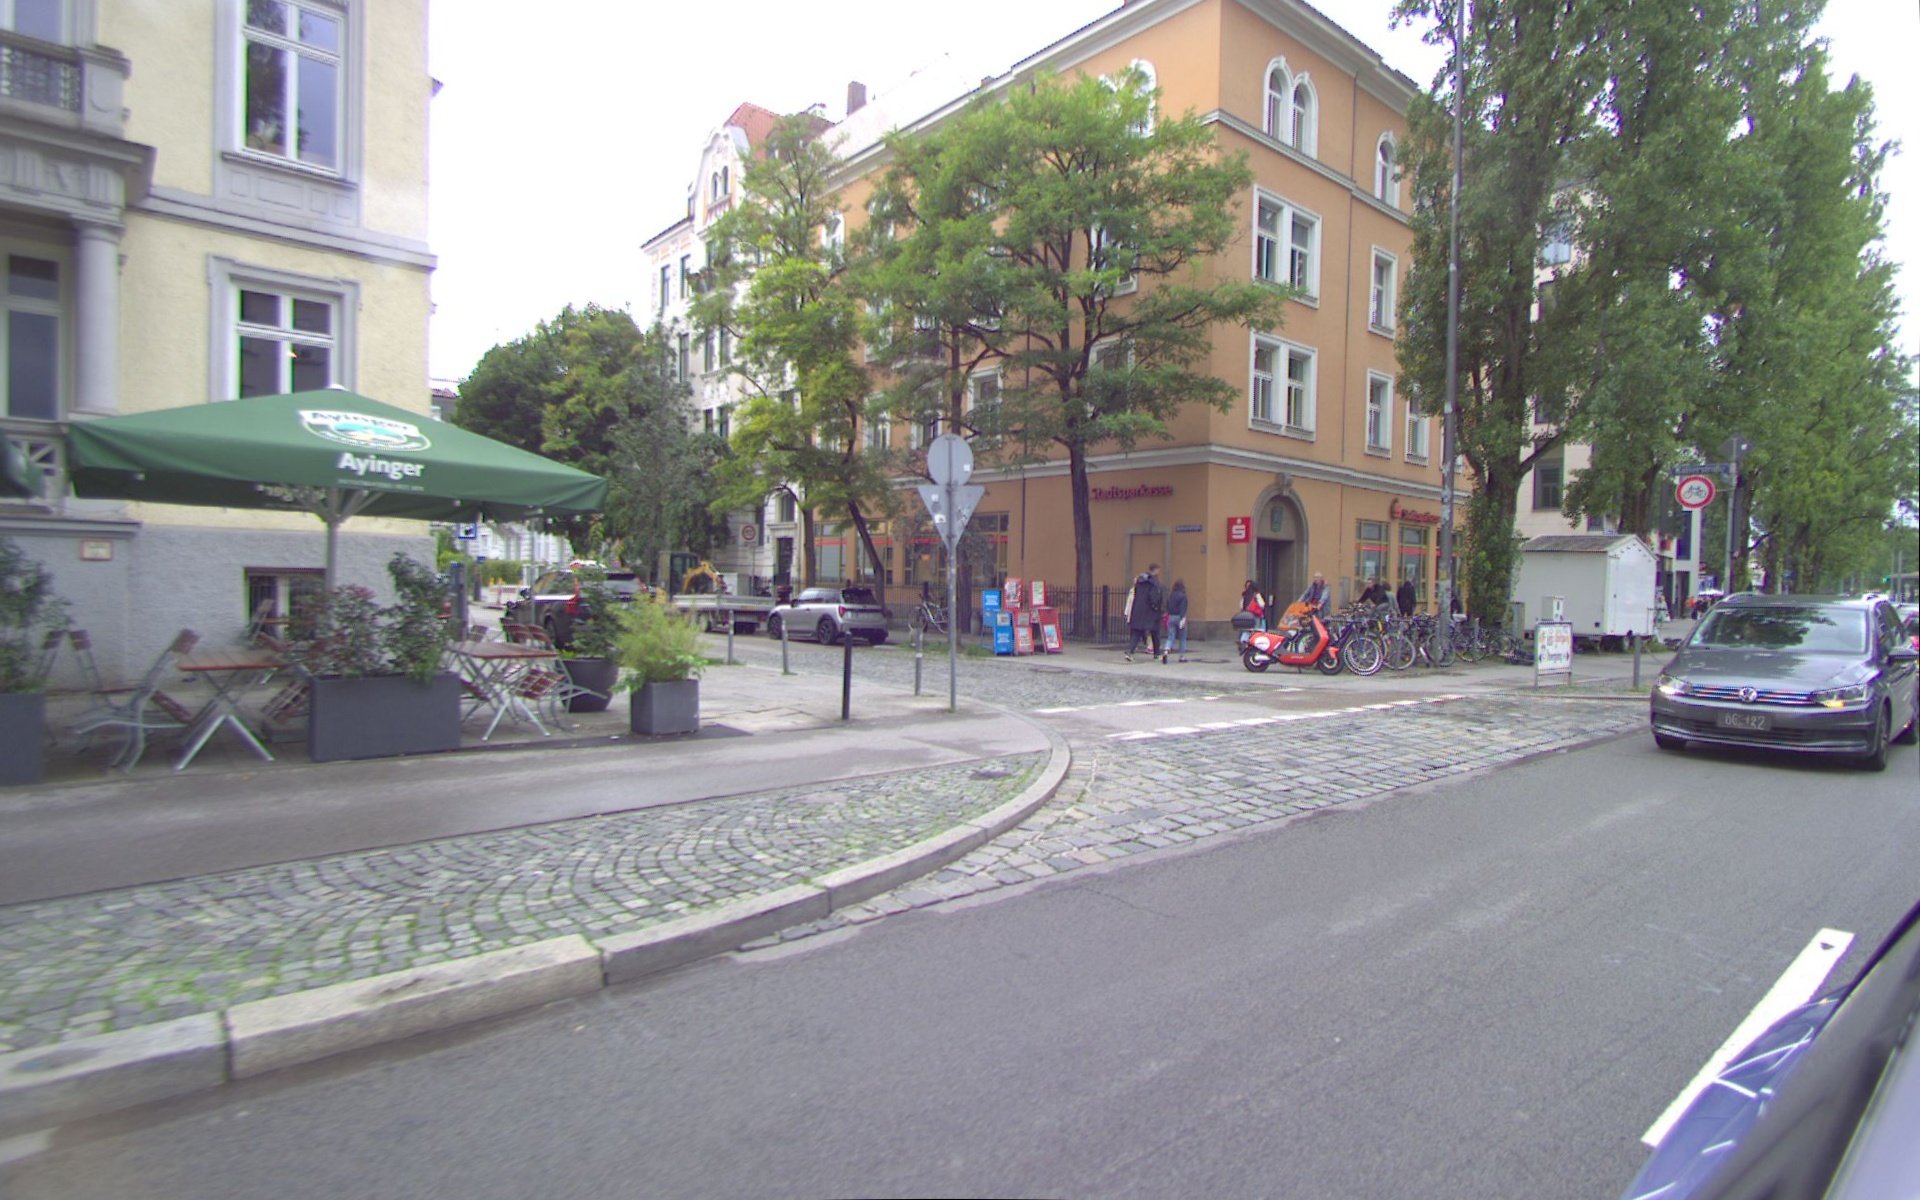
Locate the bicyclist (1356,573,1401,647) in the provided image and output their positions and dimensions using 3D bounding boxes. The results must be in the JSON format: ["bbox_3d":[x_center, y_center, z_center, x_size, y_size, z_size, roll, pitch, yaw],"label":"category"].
[{"bbox_3d":[9.807,0.225,23.719,0.738,1.708,0.737,2,1,42],"label":"bicyclist"}]

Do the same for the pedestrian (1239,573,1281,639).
[{"bbox_3d":[7.387,0.146,24.951,0.651,1.591,0.746,0,0,-38],"label":"pedestrian"}]

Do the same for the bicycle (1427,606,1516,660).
[{"bbox_3d":[10.592,0.663,20.985,1.597,1.022,0.337,2,1,43],"label":"bicycle"}]

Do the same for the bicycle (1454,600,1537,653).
[{"bbox_3d":[11.826,0.563,22.393,1.593,1.098,0.319,2,1,28],"label":"bicycle"}]

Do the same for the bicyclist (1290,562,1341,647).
[{"bbox_3d":[7.637,0.085,21.737,0.828,1.779,0.657,2,1,41],"label":"bicyclist"}]

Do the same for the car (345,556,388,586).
[{"bbox_3d":[-42.316,-2.062,72.076,1.965,2.039,3.993,0,0,-41],"label":"car"}]

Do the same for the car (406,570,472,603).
[{"bbox_3d":[-24.037,-0.634,46.633,1.673,1.487,3.991,0,1,-43],"label":"car"}]

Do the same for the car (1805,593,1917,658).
[{"bbox_3d":[24.528,0.645,27.503,4.421,1.634,1.787,0,0,-42],"label":"car"}]

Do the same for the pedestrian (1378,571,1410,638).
[{"bbox_3d":[11.364,0.116,26.496,0.617,1.715,0.566,0,0,41],"label":"pedestrian"}]

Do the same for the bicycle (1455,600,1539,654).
[{"bbox_3d":[11.687,0.570,22.057,1.587,1.098,0.339,2,1,28],"label":"bicycle"}]

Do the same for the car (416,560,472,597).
[{"bbox_3d":[-29.418,-1.177,57.603,1.965,2.039,3.993,0,0,-41],"label":"car"}]

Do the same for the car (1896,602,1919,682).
[{"bbox_3d":[19.355,0.783,19.469,3.934,1.451,1.614,0,0,-42],"label":"car"}]

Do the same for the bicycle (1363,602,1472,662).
[{"bbox_3d":[9.216,0.629,20.444,0.551,1.098,1.945,1,1,-39],"label":"bicycle"}]

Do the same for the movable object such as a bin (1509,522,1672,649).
[{"bbox_3d":[17.262,-0.413,27.656,4.463,3.175,2.445,1,2,-41],"label":"movable object such as a bin"}]

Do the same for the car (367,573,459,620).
[{"bbox_3d":[-17.715,-0.136,32.714,1.673,1.417,3.991,0,1,-43],"label":"car"}]

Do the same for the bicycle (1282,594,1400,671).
[{"bbox_3d":[6.802,0.554,18.143,0.551,1.255,1.945,1,1,-39],"label":"bicycle"}]

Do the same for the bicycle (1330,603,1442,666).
[{"bbox_3d":[8.213,0.641,19.572,0.551,1.089,1.945,1,1,-39],"label":"bicycle"}]

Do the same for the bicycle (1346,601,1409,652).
[{"bbox_3d":[9.827,0.591,23.764,0.734,1.134,2.071,2,1,41],"label":"bicycle"}]

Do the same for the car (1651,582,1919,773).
[{"bbox_3d":[8.953,0.653,10.632,4.120,1.611,1.880,0,0,-42],"label":"car"}]

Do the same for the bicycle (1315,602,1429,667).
[{"bbox_3d":[7.710,0.625,19.037,0.551,1.102,1.945,1,1,-39],"label":"bicycle"}]

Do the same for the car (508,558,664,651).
[{"bbox_3d":[-7.897,0.068,21.105,1.934,1.724,4.428,0,0,-36],"label":"car"}]

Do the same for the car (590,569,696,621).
[{"bbox_3d":[-11.199,-0.181,35.629,1.967,1.705,3.989,0,0,-44],"label":"car"}]

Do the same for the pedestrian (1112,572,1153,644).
[{"bbox_3d":[3.881,0.169,22.788,0.564,1.591,0.699,0,0,-38],"label":"pedestrian"}]

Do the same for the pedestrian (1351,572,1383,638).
[{"bbox_3d":[10.814,0.125,26.914,0.632,1.715,0.566,0,0,42],"label":"pedestrian"}]

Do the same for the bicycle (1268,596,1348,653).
[{"bbox_3d":[7.392,0.491,21.447,0.884,1.134,2.071,2,1,41],"label":"bicycle"}]

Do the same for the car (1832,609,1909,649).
[{"bbox_3d":[33.747,1.022,37.472,3.934,1.378,1.698,0,0,-42],"label":"car"}]

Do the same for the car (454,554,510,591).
[{"bbox_3d":[-27.985,-1.558,59.216,1.965,2.039,3.993,0,0,-41],"label":"car"}]

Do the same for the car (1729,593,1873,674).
[{"bbox_3d":[18.282,0.657,21.932,4.421,1.572,1.787,0,0,-42],"label":"car"}]

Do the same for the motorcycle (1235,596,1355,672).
[{"bbox_3d":[5.872,0.566,17.774,1.939,1.236,0.510,2,1,24],"label":"motorcycle"}]

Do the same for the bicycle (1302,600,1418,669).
[{"bbox_3d":[7.296,0.606,18.537,0.551,1.151,1.945,1,1,-39],"label":"bicycle"}]

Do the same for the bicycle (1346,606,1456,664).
[{"bbox_3d":[8.662,0.671,19.959,0.551,1.022,1.945,1,1,-39],"label":"bicycle"}]

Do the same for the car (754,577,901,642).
[{"bbox_3d":[-3.502,0.210,26.205,1.873,1.539,3.992,0,0,-42],"label":"car"}]

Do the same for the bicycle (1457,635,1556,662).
[{"bbox_3d":[11.440,1.005,21.206,1.671,0.378,0.818,4,3,42],"label":"bicycle"}]

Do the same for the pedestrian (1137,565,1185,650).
[{"bbox_3d":[4.341,0.149,21.865,0.718,1.788,0.699,0,0,-38],"label":"pedestrian"}]

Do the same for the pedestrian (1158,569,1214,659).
[{"bbox_3d":[4.322,0.254,19.368,0.758,1.682,0.745,0,0,-41],"label":"pedestrian"}]

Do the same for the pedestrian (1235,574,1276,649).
[{"bbox_3d":[6.462,0.243,22.159,0.740,1.591,0.608,0,0,30],"label":"pedestrian"}]

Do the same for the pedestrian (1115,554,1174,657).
[{"bbox_3d":[3.629,0.103,19.935,0.787,1.973,0.840,0,0,-37],"label":"pedestrian"}]

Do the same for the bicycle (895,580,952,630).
[{"bbox_3d":[-1.063,0.136,29.138,0.551,1.389,1.945,1,0,-39],"label":"bicycle"}]

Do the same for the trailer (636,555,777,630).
[{"bbox_3d":[-7.674,-0.234,30.233,1.873,2.054,5.247,1,0,-41],"label":"trailer"}]
